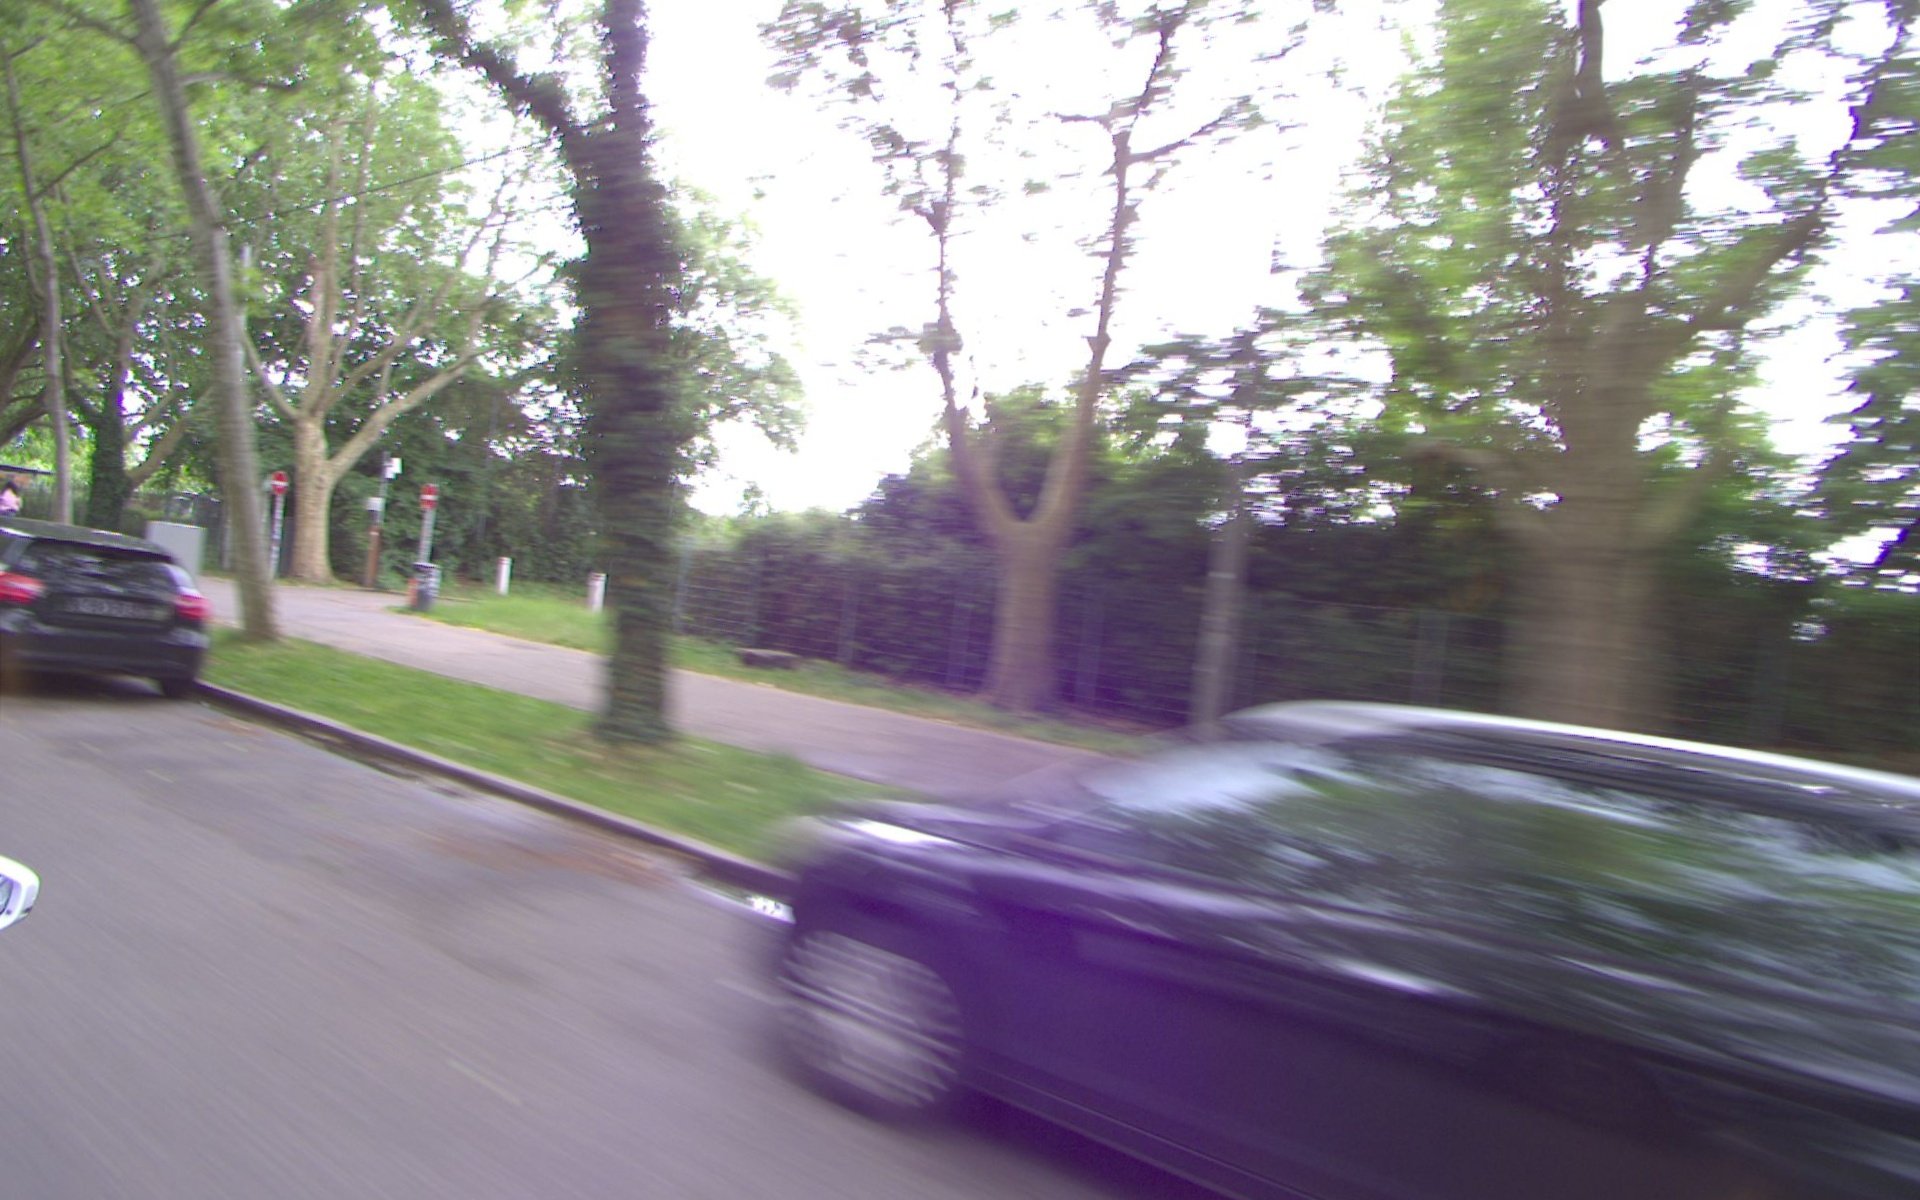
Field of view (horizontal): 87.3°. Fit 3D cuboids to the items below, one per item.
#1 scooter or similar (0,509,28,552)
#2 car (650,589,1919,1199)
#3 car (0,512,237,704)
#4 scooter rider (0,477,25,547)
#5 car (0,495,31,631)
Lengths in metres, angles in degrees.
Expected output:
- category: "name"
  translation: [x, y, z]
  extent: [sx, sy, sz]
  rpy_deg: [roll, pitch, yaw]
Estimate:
- category: "scooter or similar"
  translation: [-25.840, -1.901, 27.114]
  extent: [1.443, 1.052, 0.680]
  rpy_deg: [7, 2, 32]
- category: "car"
  translation: [1.288, 1.063, 3.211]
  extent: [4.323, 1.570, 1.782]
  rpy_deg: [7, -3, 31]
- category: "car"
  translation: [-8.928, -0.077, 9.565]
  extent: [4.217, 1.434, 1.780]
  rpy_deg: [7, -3, 33]
- category: "scooter rider"
  translation: [-25.799, -2.392, 27.107]
  extent: [0.578, 1.823, 0.676]
  rpy_deg: [7, 2, 32]
- category: "car"
  translation: [-13.784, -0.758, 12.634]
  extent: [4.393, 1.620, 1.834]
  rpy_deg: [7, -3, 31]
